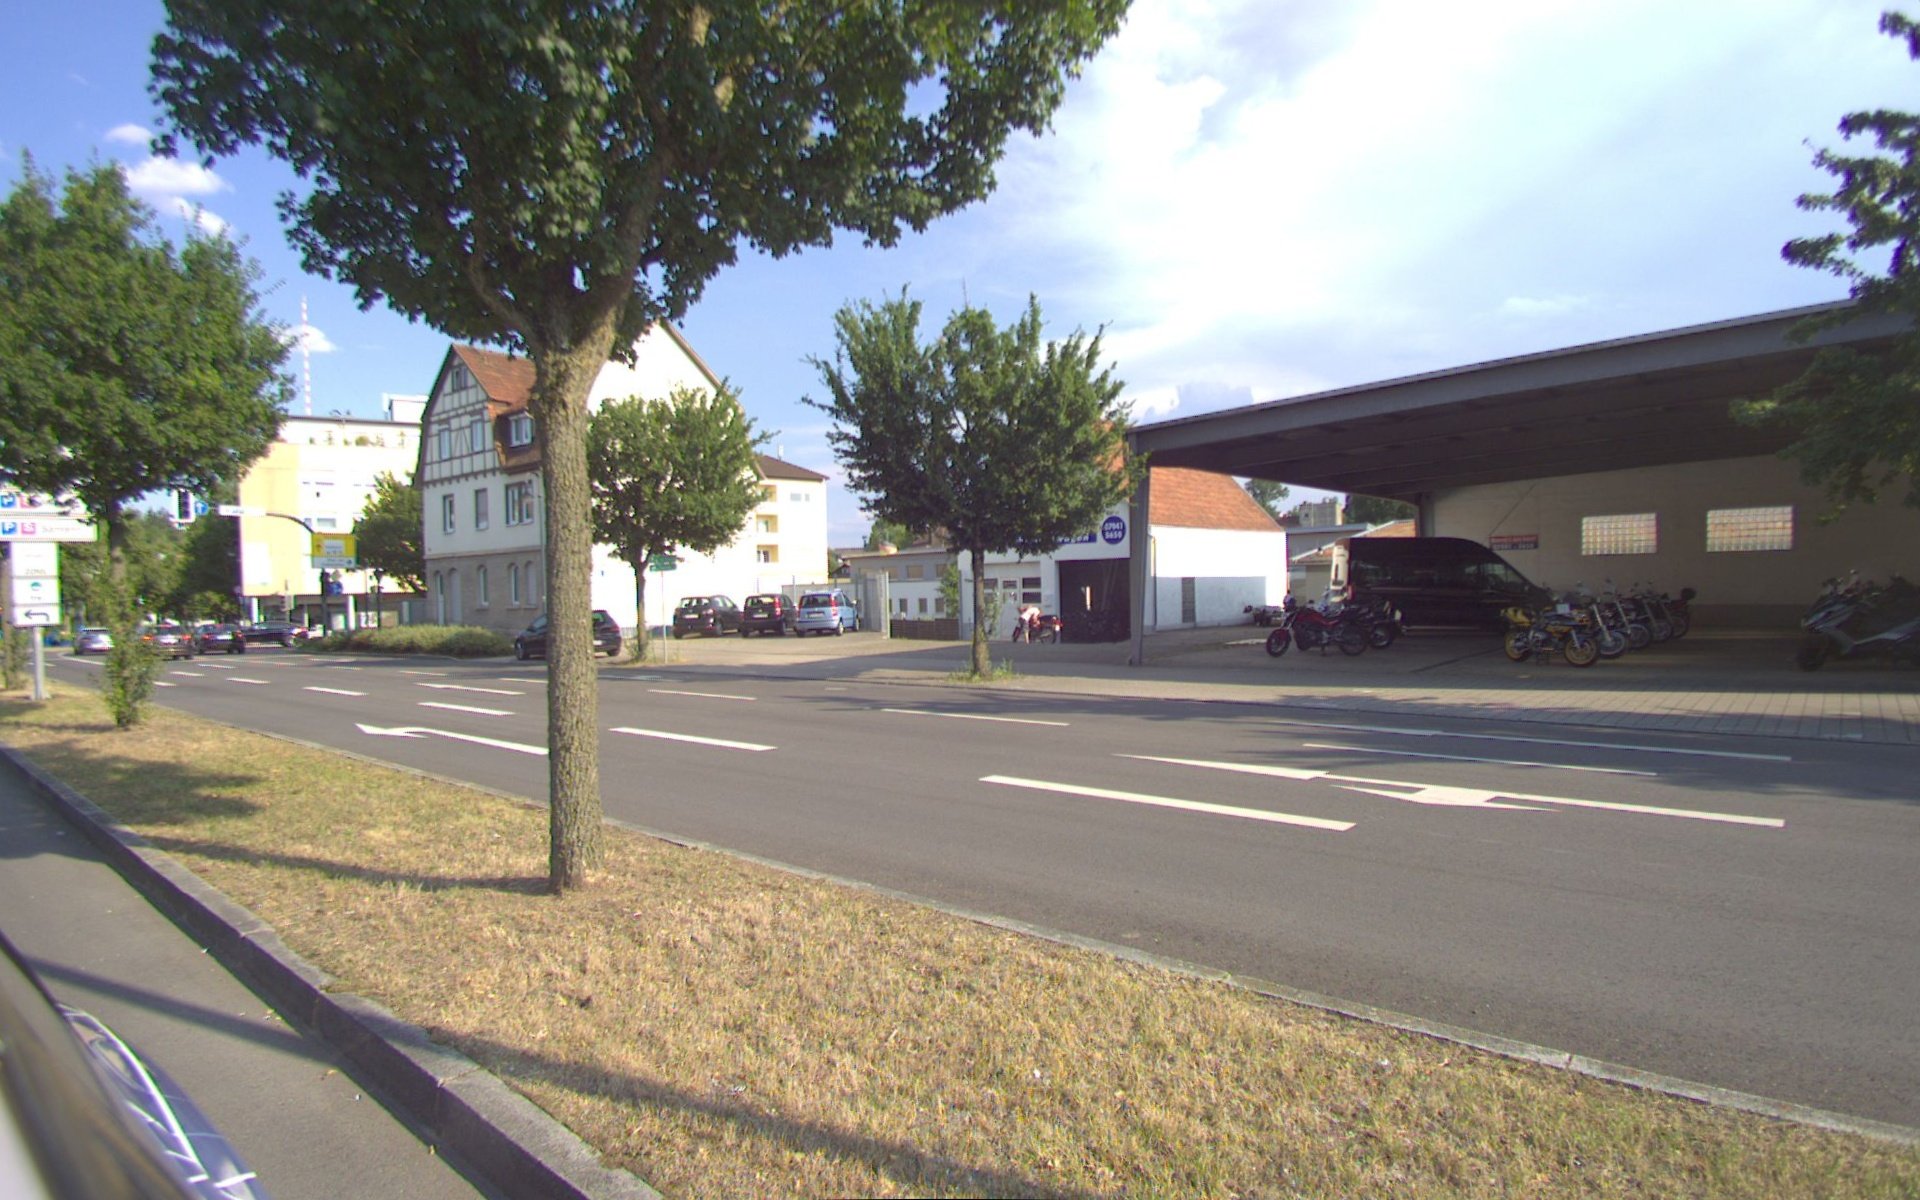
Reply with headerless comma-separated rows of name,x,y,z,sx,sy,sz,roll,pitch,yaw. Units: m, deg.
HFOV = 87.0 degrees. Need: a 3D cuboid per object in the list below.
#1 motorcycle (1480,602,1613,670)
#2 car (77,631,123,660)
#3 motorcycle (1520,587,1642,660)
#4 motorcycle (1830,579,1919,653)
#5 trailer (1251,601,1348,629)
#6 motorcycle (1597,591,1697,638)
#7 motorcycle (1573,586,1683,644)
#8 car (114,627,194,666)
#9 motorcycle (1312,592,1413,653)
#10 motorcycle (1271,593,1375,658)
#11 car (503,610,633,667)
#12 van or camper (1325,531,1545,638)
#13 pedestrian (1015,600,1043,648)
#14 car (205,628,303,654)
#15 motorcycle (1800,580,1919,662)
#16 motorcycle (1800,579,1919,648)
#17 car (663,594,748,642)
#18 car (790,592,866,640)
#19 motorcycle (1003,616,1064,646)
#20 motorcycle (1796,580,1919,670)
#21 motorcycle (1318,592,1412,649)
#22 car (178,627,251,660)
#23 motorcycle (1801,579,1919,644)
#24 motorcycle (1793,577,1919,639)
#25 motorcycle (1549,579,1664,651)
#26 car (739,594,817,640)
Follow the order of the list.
motorcycle,10.449,0.609,18.131,0.620,1.132,2.161,-1,0,-19
car,-44.322,2.325,52.209,1.758,1.359,4.486,-1,0,-40
motorcycle,12.122,0.441,19.844,0.553,1.340,2.161,-1,0,-19
motorcycle,17.106,0.277,18.257,2.068,1.317,0.621,-1,0,12
trailer,12.523,0.534,37.254,2.449,0.831,3.152,-1,2,38
motorcycle,17.213,0.359,25.436,0.553,1.131,2.161,-1,0,-19
motorcycle,15.445,0.346,23.481,0.636,1.268,2.161,-1,0,-19
car,-31.778,1.790,39.870,4.186,1.397,1.628,-1,0,40
motorcycle,9.030,0.500,22.772,1.982,1.321,0.649,-1,0,5
motorcycle,7.561,0.545,21.188,1.991,1.321,0.665,-1,0,18
car,-11.731,1.113,30.161,4.193,1.454,1.816,-1,3,41
van or camper,12.809,-0.394,27.621,4.980,2.700,1.995,-1,0,9
pedestrian,2.225,0.761,32.702,0.642,1.535,0.676,-1,0,-21
car,-42.016,2.405,60.287,4.594,1.364,1.770,-1,0,-41
motorcycle,15.274,0.345,16.737,2.068,1.317,0.561,-1,0,12
motorcycle,17.975,0.272,19.994,2.068,1.317,0.581,-1,0,12
car,-9.426,0.632,37.793,1.747,1.563,3.992,-2,1,7
car,-4.595,0.539,35.737,1.746,1.564,3.992,-1,0,7
motorcycle,2.400,1.015,33.345,2.212,0.927,0.500,-1,0,45
motorcycle,13.893,0.365,15.130,2.093,1.317,0.561,-1,0,12
motorcycle,9.798,0.491,24.552,1.982,1.321,0.649,-1,0,5
car,-35.125,1.998,47.634,4.642,1.432,1.824,-1,0,41
motorcycle,18.965,0.236,21.172,2.068,1.317,0.561,-1,0,12
motorcycle,19.919,0.180,22.527,2.068,1.317,0.561,-1,0,12
motorcycle,13.803,0.310,21.695,0.584,1.459,2.161,-1,0,-19
car,-6.671,0.593,37.420,1.746,1.564,3.992,-1,0,7
